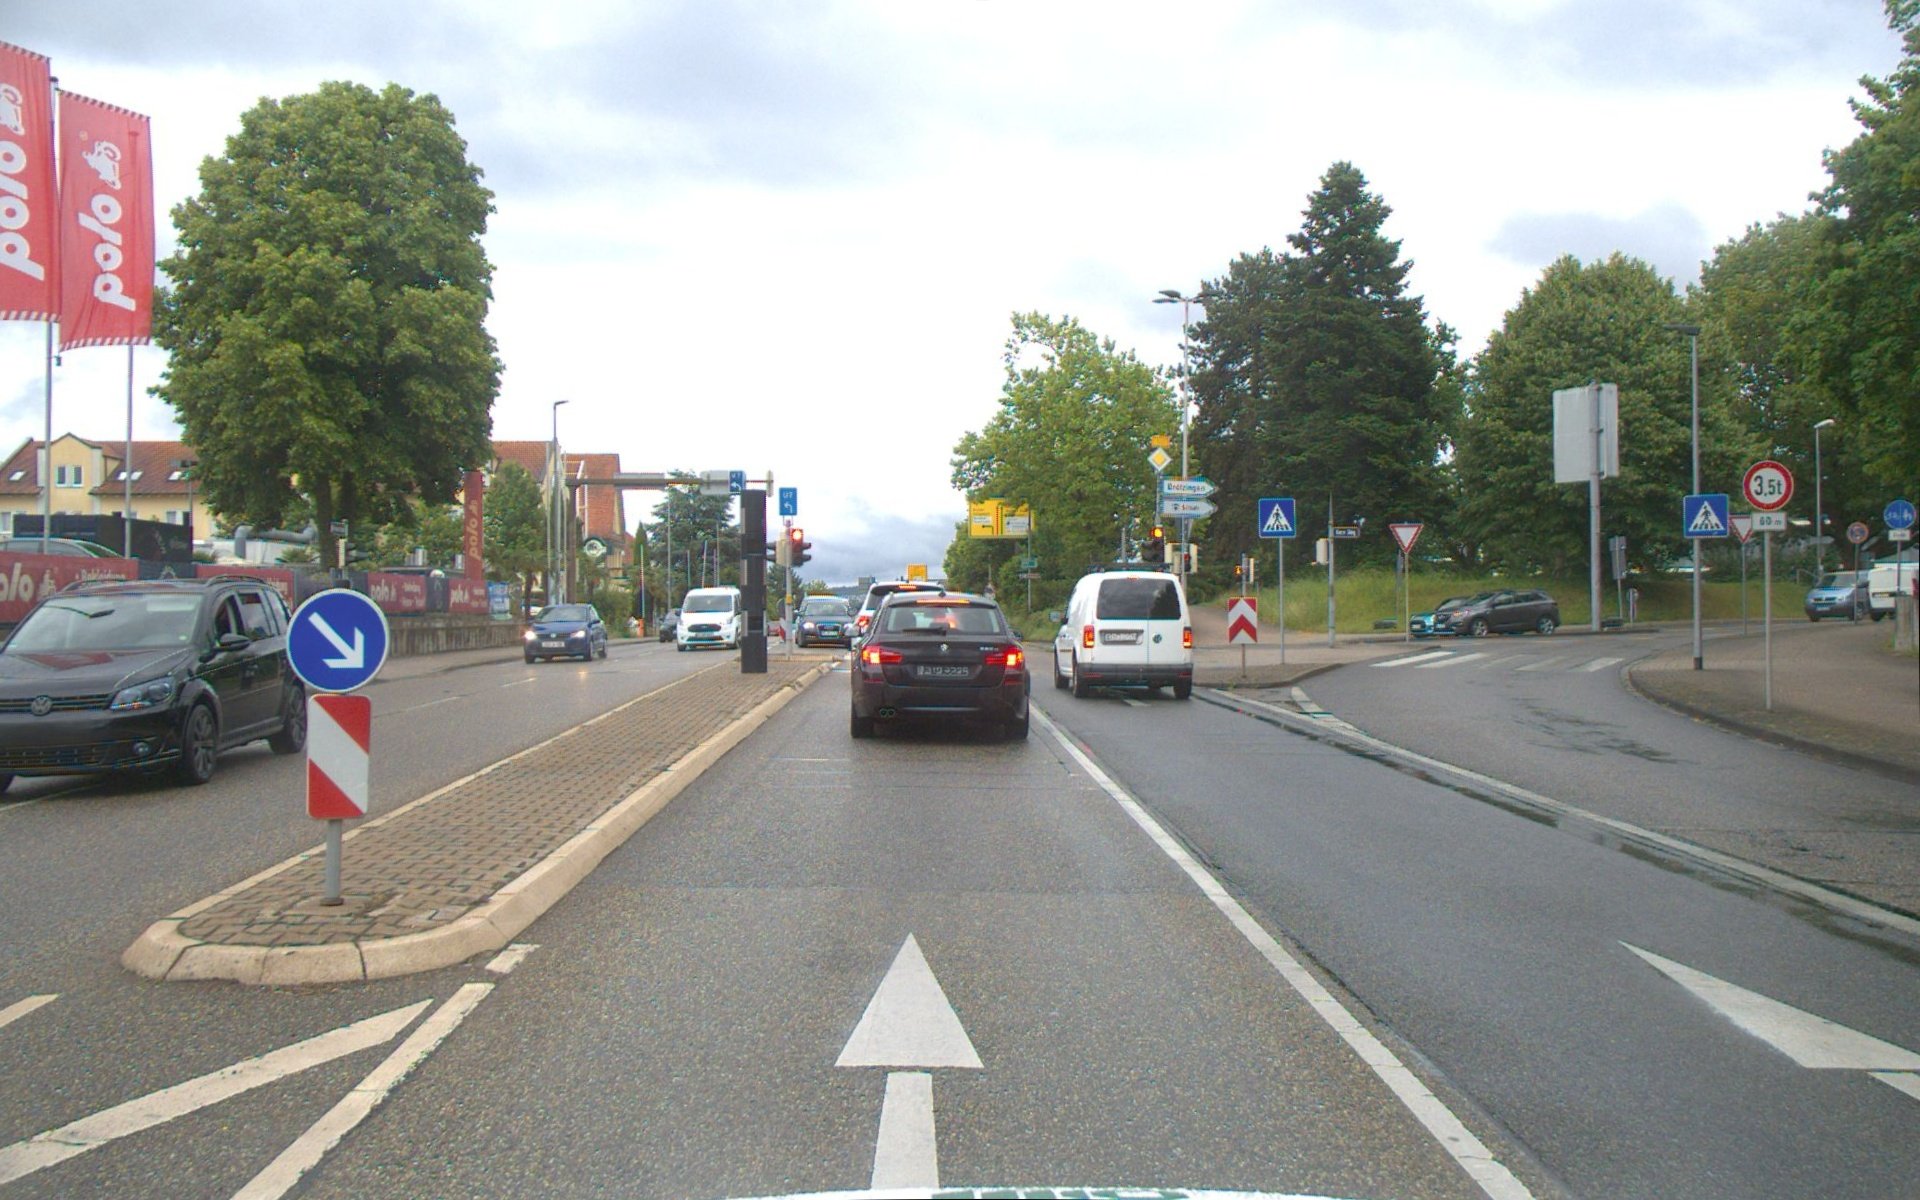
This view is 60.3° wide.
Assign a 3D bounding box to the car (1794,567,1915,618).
[{"bbox_3d":[34.410,-0.324,63.633,4.674,1.883,1.883,-1,2,-29],"label":"car"}]

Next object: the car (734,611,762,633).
[{"bbox_3d":[-14.768,1.520,115.170,1.634,1.377,3.441,-1,0,-2],"label":"car"}]

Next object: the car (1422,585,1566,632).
[{"bbox_3d":[17.815,0.264,55.246,4.240,1.492,1.895,-1,0,-12],"label":"car"}]

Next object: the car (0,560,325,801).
[{"bbox_3d":[-6.858,0.571,14.041,1.723,1.706,4.142,-2,1,-7],"label":"car"}]

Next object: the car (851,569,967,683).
[{"bbox_3d":[-0.783,0.392,27.325,1.692,1.741,3.383,1,0,2],"label":"car"}]

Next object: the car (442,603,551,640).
[{"bbox_3d":[-19.634,0.898,70.053,4.148,1.481,1.783,-1,0,-30],"label":"car"}]

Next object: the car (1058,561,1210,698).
[{"bbox_3d":[2.558,0.397,25.173,1.707,1.902,3.944,1,1,-3],"label":"car"}]

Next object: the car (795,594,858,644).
[{"bbox_3d":[-4.123,0.566,51.177,1.857,1.481,4.093,-1,0,-5],"label":"car"}]

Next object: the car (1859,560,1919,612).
[{"bbox_3d":[33.412,-0.514,58.131,3.906,1.738,1.795,-2,2,-38],"label":"car"}]

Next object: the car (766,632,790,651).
[{"bbox_3d":[-14.651,3.357,133.174,1.634,1.377,3.441,-1,0,-2],"label":"car"}]

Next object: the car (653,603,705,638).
[{"bbox_3d":[-11.985,0.844,70.721,1.634,1.406,4.070,-1,0,-2],"label":"car"}]

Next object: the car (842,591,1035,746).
[{"bbox_3d":[-0.174,0.640,17.716,1.816,1.444,3.957,1,0,1],"label":"car"}]

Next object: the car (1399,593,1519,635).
[{"bbox_3d":[17.662,0.476,58.556,3.928,1.316,1.600,-2,1,-20],"label":"car"}]

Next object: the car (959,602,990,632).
[{"bbox_3d":[0.720,0.867,85.531,1.567,1.395,3.680,-1,2,0],"label":"car"}]

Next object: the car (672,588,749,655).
[{"bbox_3d":[-7.514,0.628,50.157,1.821,1.855,4.576,-2,0,-3],"label":"car"}]

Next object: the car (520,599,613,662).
[{"bbox_3d":[-9.978,0.739,42.156,1.602,1.406,3.763,-2,1,-3],"label":"car"}]
